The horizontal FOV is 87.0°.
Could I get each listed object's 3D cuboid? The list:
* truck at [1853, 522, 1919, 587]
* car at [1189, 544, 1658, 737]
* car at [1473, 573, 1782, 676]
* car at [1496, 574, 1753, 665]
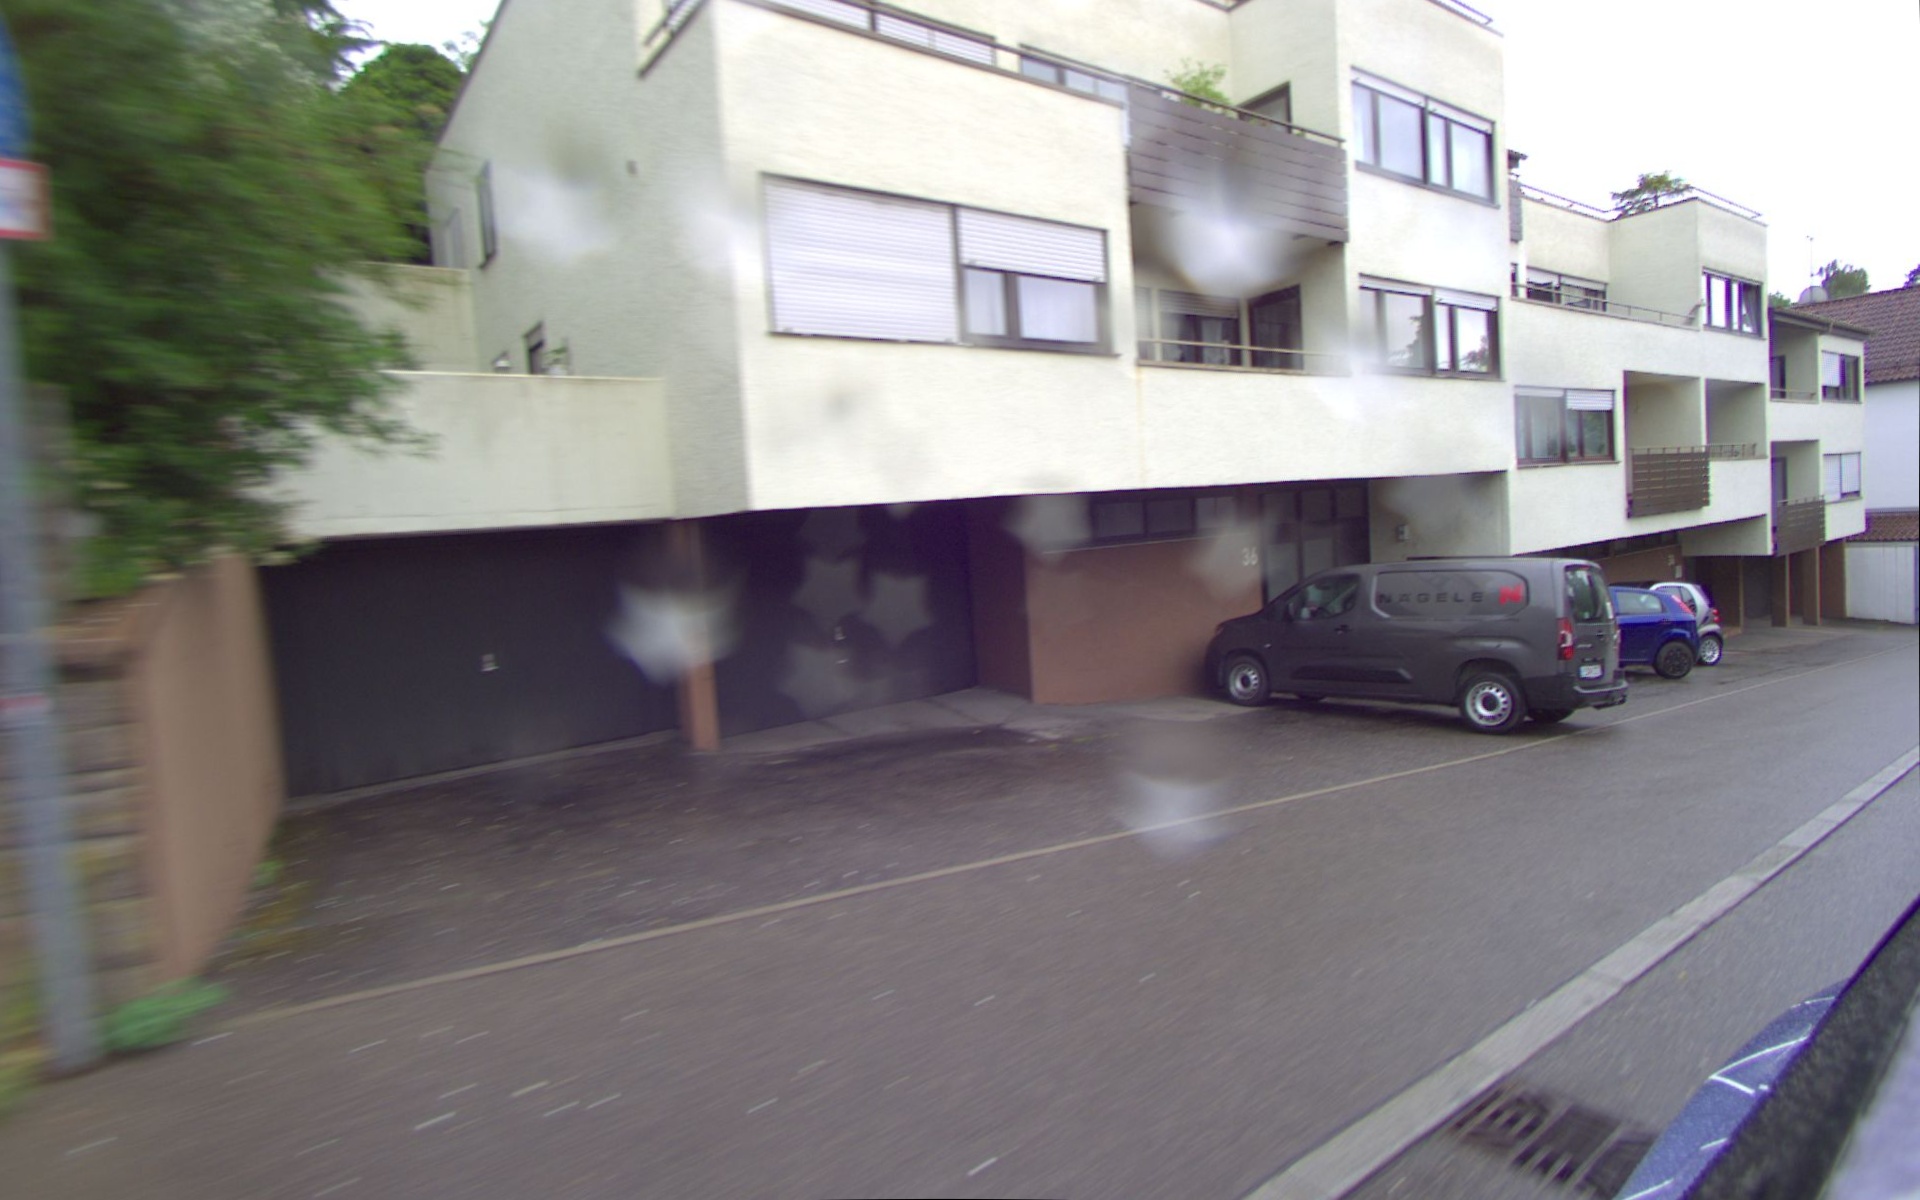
[{"bbox_3d":[43.828,-1.834,44.017,2.096,2.733,7.000,0,7,-25],"label":"truck"},{"bbox_3d":[5.274,0.317,12.119,1.964,1.843,4.718,0,1,-40],"label":"car"},{"bbox_3d":[11.094,0.399,17.016,3.988,1.599,1.788,-1,-1,-1],"label":"car"},{"bbox_3d":[12.623,0.344,19.324,3.982,1.599,1.791,0,-1,-12],"label":"car"}]
